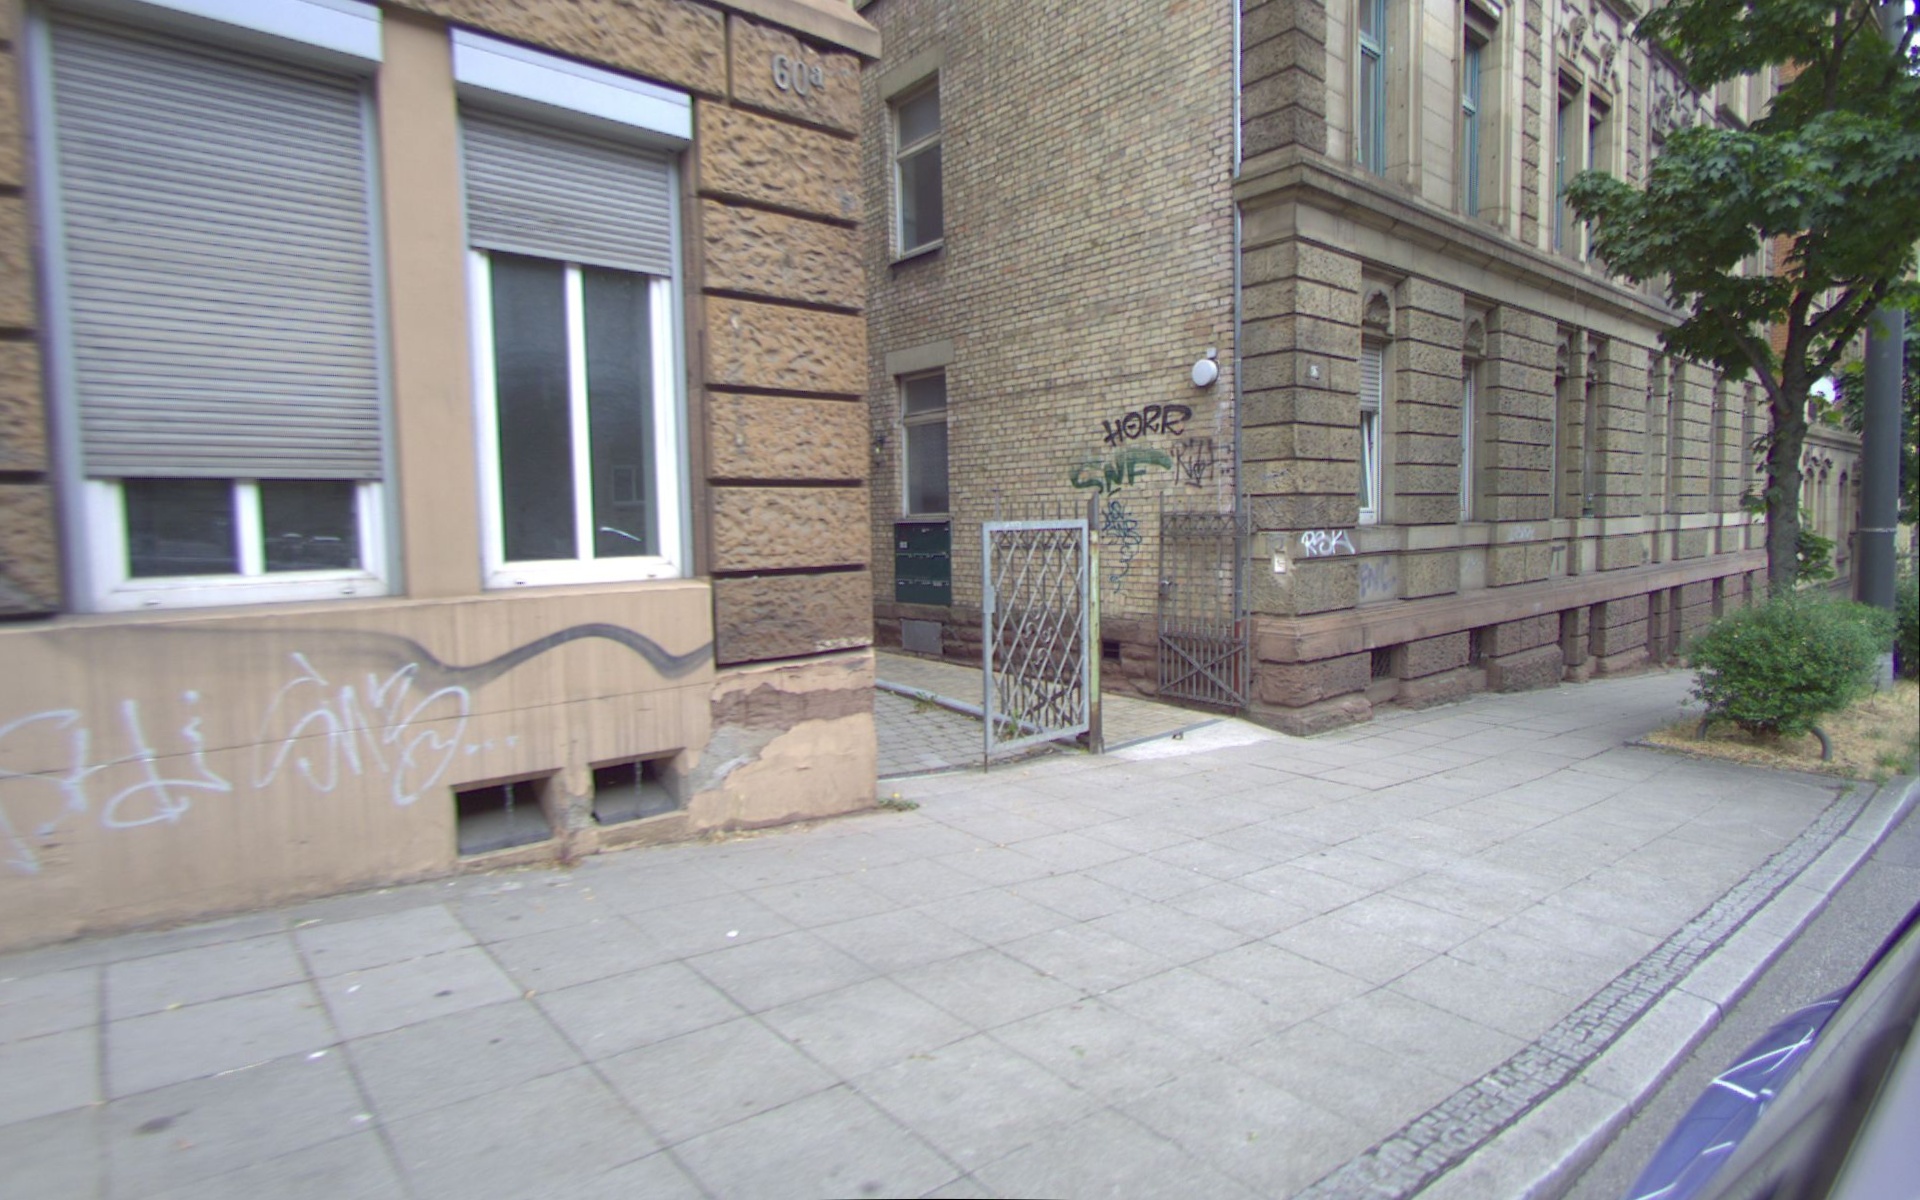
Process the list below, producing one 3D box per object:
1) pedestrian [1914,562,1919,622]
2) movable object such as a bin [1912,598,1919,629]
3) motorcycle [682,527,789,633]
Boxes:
[{"bbox_3d":[30.132,-0.247,31.310,1.102,1.851,0.687,-3,5,-41],"label":"pedestrian"},{"bbox_3d":[31.880,0.470,33.345,0.572,1.028,0.672,3,2,-43],"label":"movable object such as a bin"},{"bbox_3d":[-3.500,-0.354,15.686,0.643,1.461,2.031,-7,9,-41],"label":"motorcycle"}]
